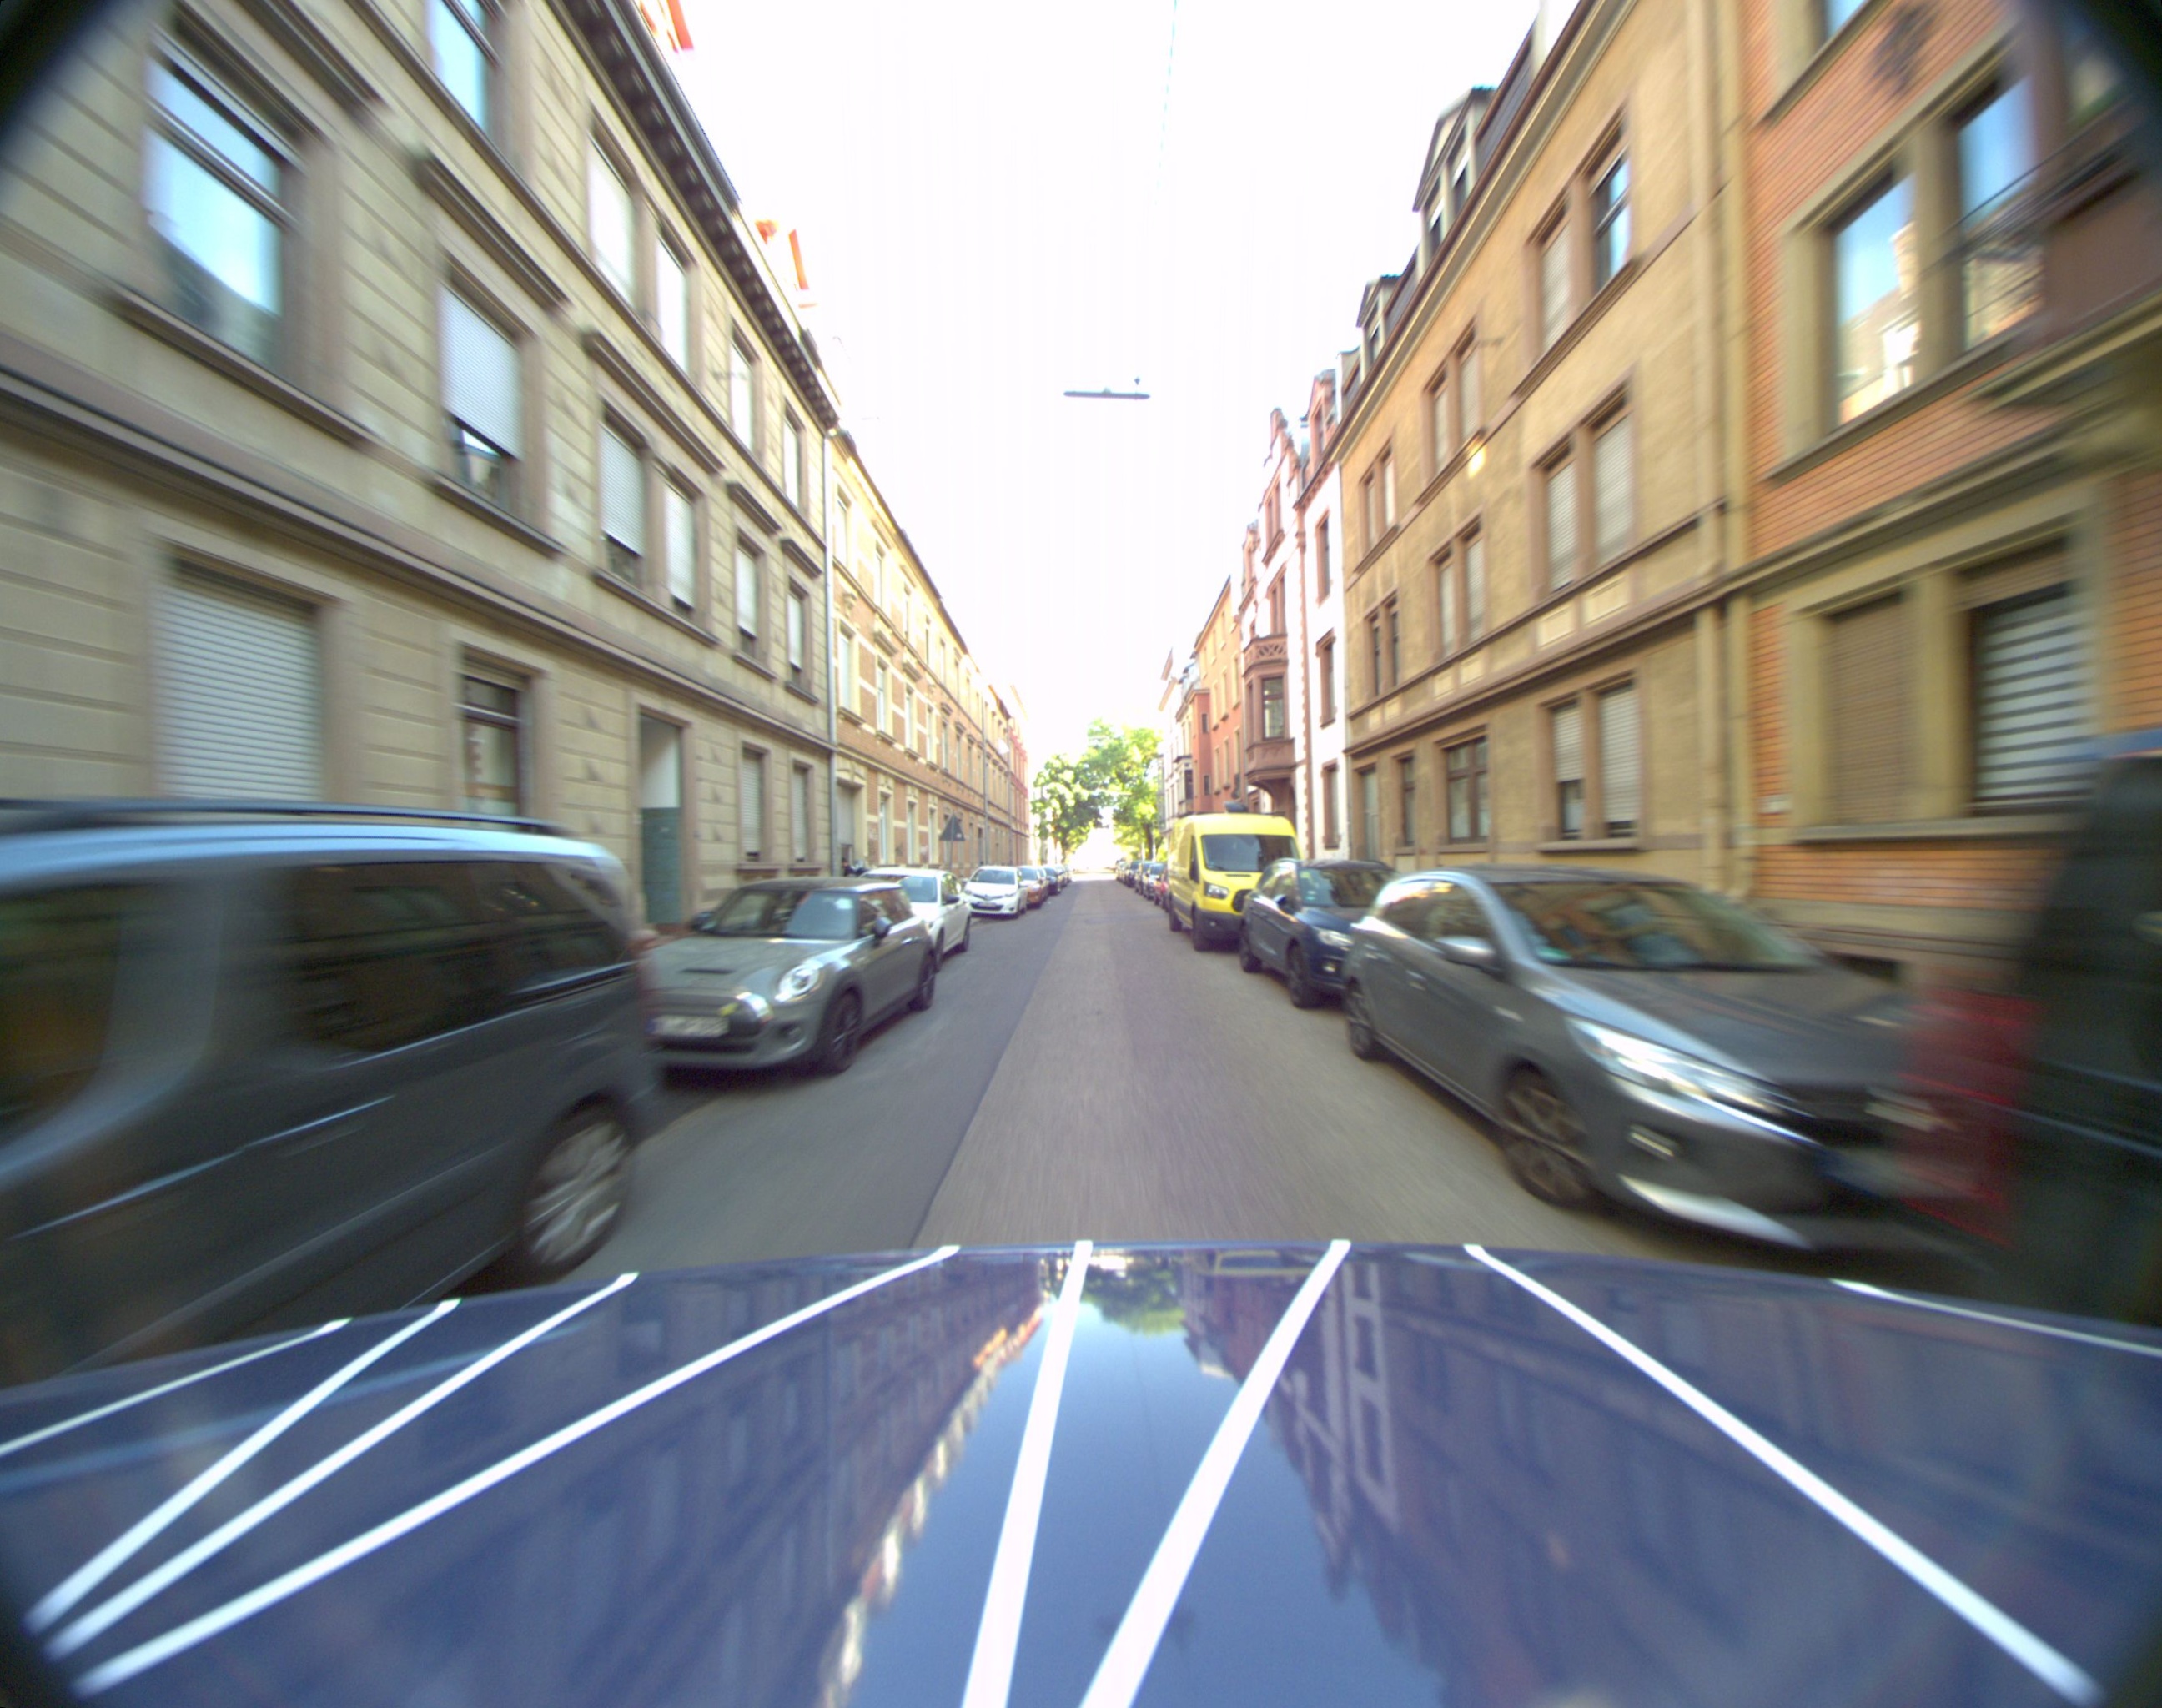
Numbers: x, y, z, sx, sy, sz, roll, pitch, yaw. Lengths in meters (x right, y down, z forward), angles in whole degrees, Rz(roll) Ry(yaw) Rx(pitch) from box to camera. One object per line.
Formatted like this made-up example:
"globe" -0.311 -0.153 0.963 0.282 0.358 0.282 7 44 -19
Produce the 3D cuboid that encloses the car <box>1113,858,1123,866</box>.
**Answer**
"car" 6.863 1.443 140.851 1.755 1.464 4.000 -3 0 1

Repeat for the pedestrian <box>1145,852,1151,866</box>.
"pedestrian" 9.032 0.671 102.219 0.804 1.735 1.006 -1 0 1

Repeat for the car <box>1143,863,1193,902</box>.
"car" 3.546 1.141 31.615 1.698 1.465 3.919 1 0 1

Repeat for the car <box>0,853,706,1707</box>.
"car" -2.852 0.894 1.575 1.758 1.775 4.724 1 0 0

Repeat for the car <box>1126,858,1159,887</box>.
"car" 3.699 1.093 46.375 1.765 1.608 4.189 -1 0 2

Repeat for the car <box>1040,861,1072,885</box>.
"car" -1.604 1.234 49.981 1.766 1.475 4.402 -1 0 2

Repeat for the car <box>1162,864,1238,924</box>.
"car" 3.257 1.053 21.424 1.722 1.404 3.899 3 0 4

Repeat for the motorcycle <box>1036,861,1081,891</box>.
"motorcycle" -1.235 1.235 42.259 2.229 1.527 0.889 -3 0 -25

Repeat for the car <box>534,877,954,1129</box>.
"car" -2.546 1.020 7.046 1.758 1.444 4.289 3 0 3

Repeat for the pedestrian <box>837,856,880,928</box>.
"pedestrian" -5.178 0.865 17.698 0.657 1.621 0.878 0 1 -41

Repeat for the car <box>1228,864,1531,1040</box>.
"car" 3.092 0.920 8.894 1.998 1.543 4.000 -1 0 1

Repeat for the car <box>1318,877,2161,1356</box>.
"car" 2.754 0.931 4.339 1.681 1.441 3.645 -2 0 1

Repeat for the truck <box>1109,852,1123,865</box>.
"truck" 7.311 0.940 158.634 2.395 2.641 7.093 -1 0 0

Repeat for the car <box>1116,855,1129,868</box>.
"car" 6.527 1.211 120.021 1.998 1.946 5.043 1 0 1

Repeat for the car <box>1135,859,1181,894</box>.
"car" 3.673 1.046 37.033 1.785 1.596 4.069 -1 0 0

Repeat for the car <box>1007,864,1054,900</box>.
"car" -2.126 1.170 33.114 1.730 1.409 4.094 3 0 0

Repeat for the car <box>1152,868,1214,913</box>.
"car" 3.385 1.176 25.776 1.622 1.319 3.612 2 0 0

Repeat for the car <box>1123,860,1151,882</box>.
"car" 3.787 1.120 51.763 1.647 1.447 3.839 1 0 0

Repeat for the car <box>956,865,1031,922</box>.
"car" -2.595 1.148 23.403 1.725 1.472 4.083 3 0 0

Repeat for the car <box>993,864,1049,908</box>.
"car" -2.152 1.133 28.368 1.758 1.437 4.069 2 0 -1

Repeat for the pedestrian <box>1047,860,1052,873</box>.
"pedestrian" -4.416 1.749 106.312 0.529 1.834 0.707 -1 0 2

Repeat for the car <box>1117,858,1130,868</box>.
"car" 6.370 1.399 114.538 1.731 1.455 3.845 0 0 1

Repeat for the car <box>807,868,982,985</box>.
"car" -2.883 1.046 12.766 1.758 1.509 4.443 3 0 0

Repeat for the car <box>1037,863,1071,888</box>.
"car" -1.568 1.254 45.436 1.696 1.398 3.993 -1 0 2

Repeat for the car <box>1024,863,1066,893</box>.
"car" -1.777 1.194 38.569 1.781 1.388 4.318 -1 -1 2

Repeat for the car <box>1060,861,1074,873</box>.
"car" -1.824 1.699 100.724 1.685 1.531 4.134 0 0 0

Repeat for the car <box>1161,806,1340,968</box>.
"car" 2.946 0.526 14.752 2.180 2.493 5.878 1 0 1
